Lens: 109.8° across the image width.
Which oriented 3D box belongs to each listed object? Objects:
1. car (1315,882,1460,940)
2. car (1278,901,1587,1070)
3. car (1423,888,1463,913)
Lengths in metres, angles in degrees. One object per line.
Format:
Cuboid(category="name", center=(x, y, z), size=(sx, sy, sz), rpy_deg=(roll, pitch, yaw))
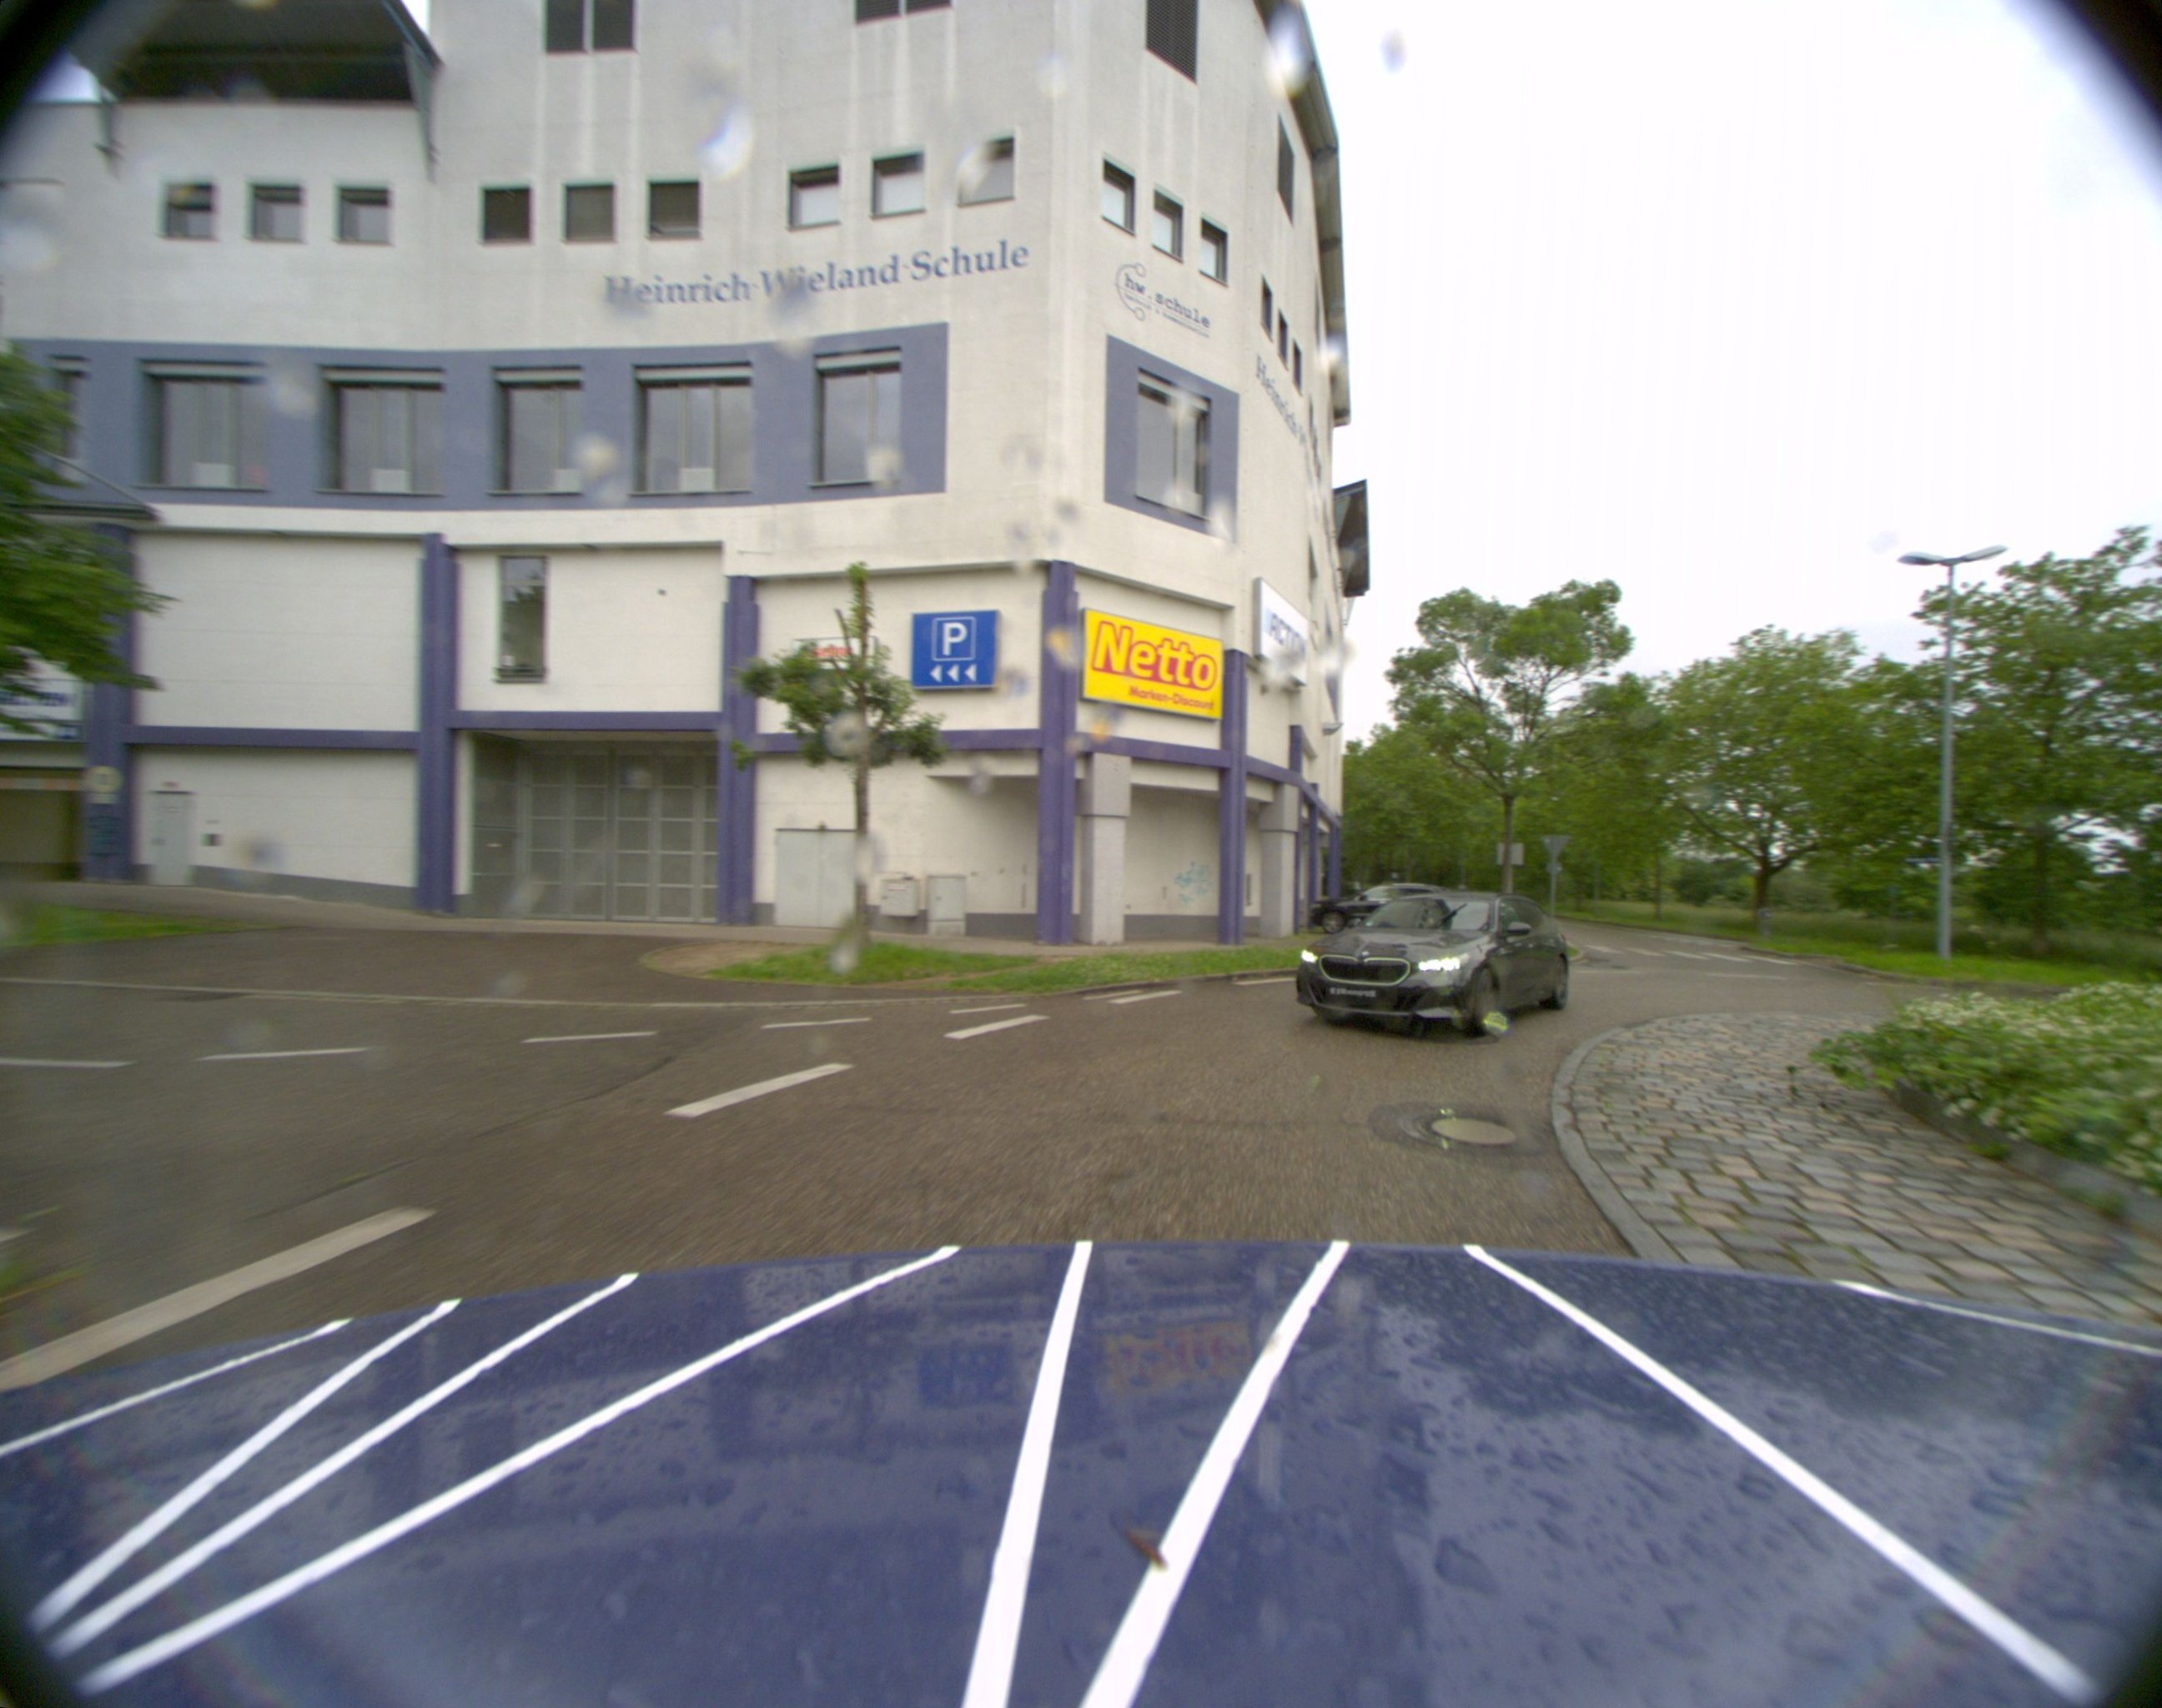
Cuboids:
Cuboid(category="car", center=(10.277, 1.901, 25.732), size=(4.381, 1.748, 1.833), rpy_deg=(1, -3, 20))
Cuboid(category="car", center=(4.550, 1.374, 9.341), size=(4.914, 1.485, 1.839), rpy_deg=(4, -4, -45))
Cuboid(category="car", center=(26.663, 3.403, 56.097), size=(1.803, 1.592, 4.377), rpy_deg=(3, 0, 15))
